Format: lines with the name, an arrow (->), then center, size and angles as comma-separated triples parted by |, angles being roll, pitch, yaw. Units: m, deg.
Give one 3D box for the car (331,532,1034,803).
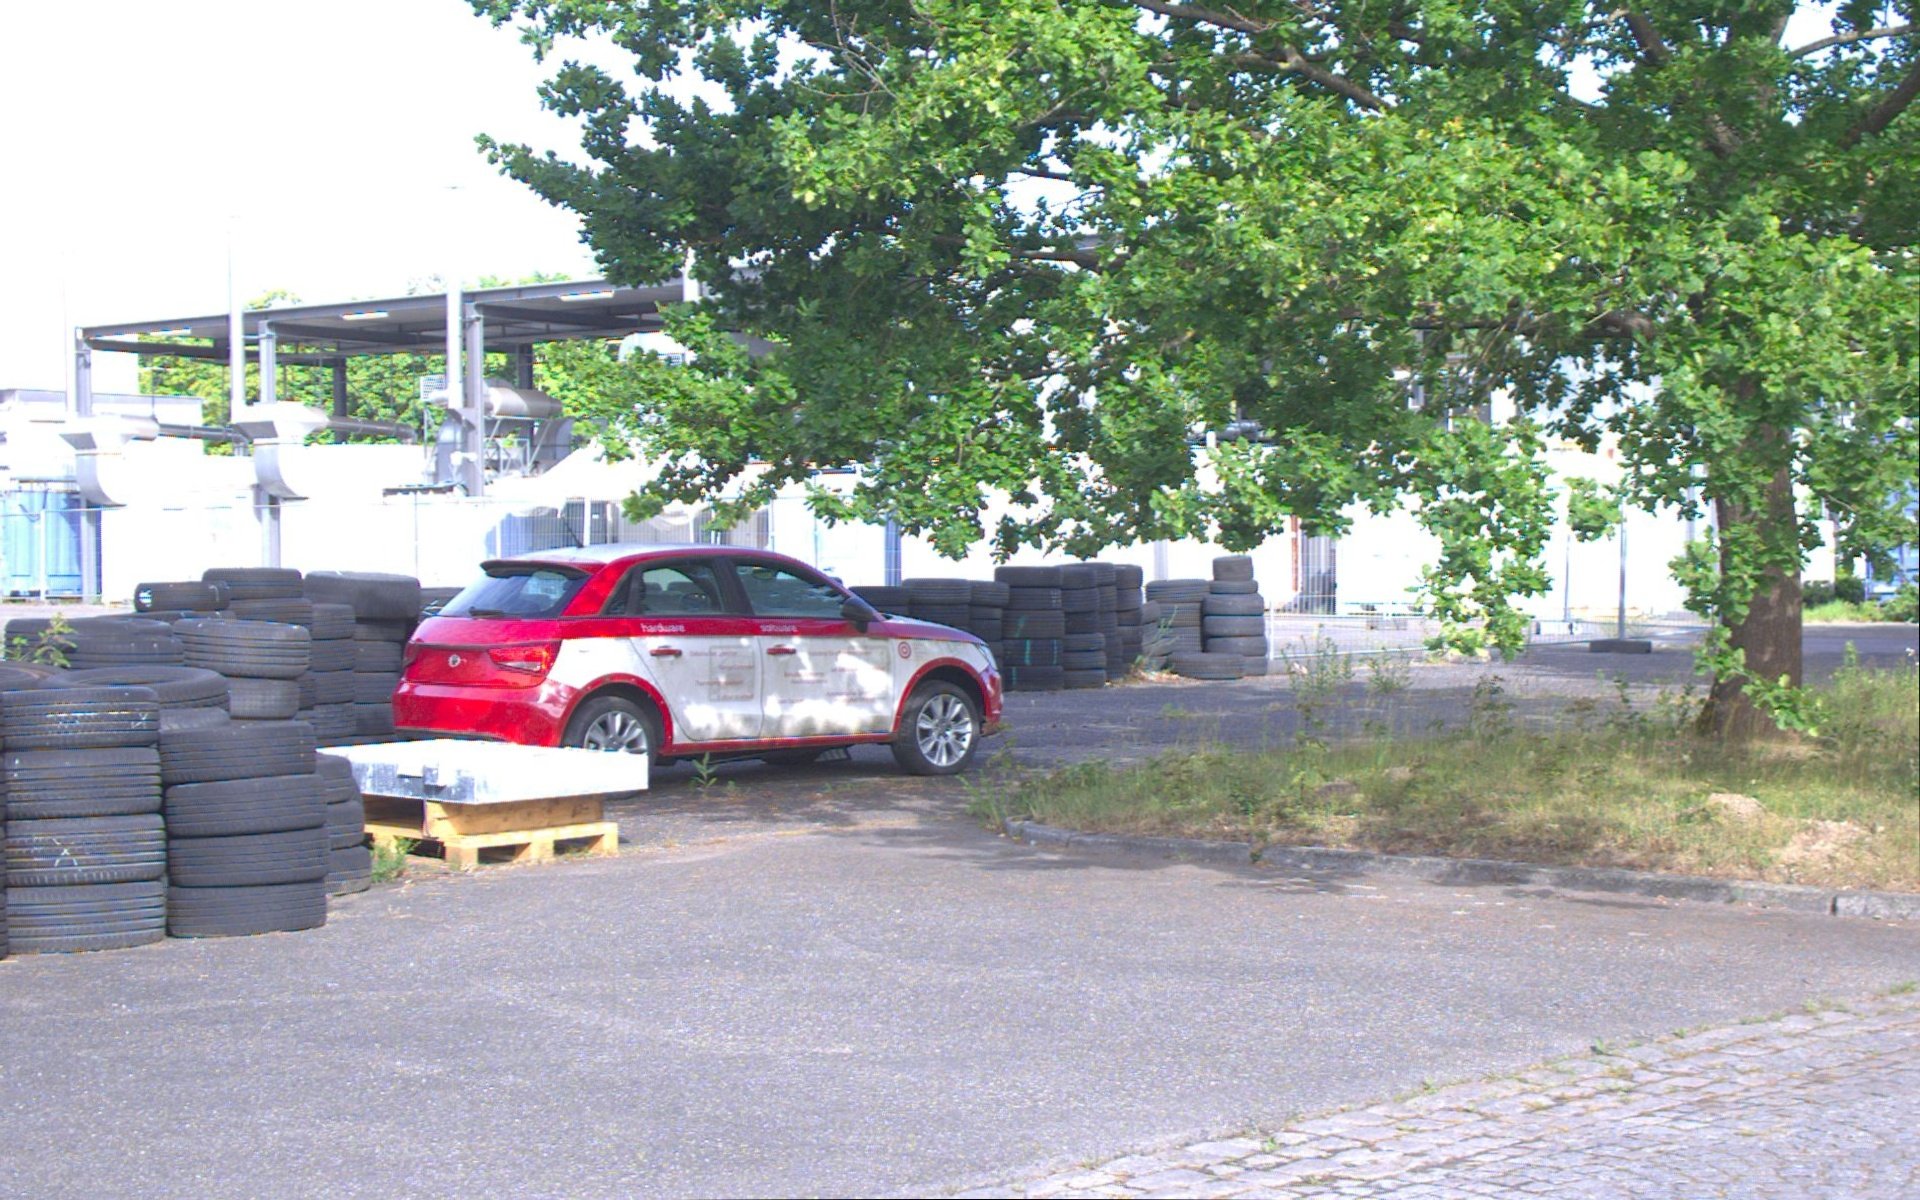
car -> -1.612, 0.335, 20.814 | 3.989, 1.459, 1.727 | -2, 1, -41
